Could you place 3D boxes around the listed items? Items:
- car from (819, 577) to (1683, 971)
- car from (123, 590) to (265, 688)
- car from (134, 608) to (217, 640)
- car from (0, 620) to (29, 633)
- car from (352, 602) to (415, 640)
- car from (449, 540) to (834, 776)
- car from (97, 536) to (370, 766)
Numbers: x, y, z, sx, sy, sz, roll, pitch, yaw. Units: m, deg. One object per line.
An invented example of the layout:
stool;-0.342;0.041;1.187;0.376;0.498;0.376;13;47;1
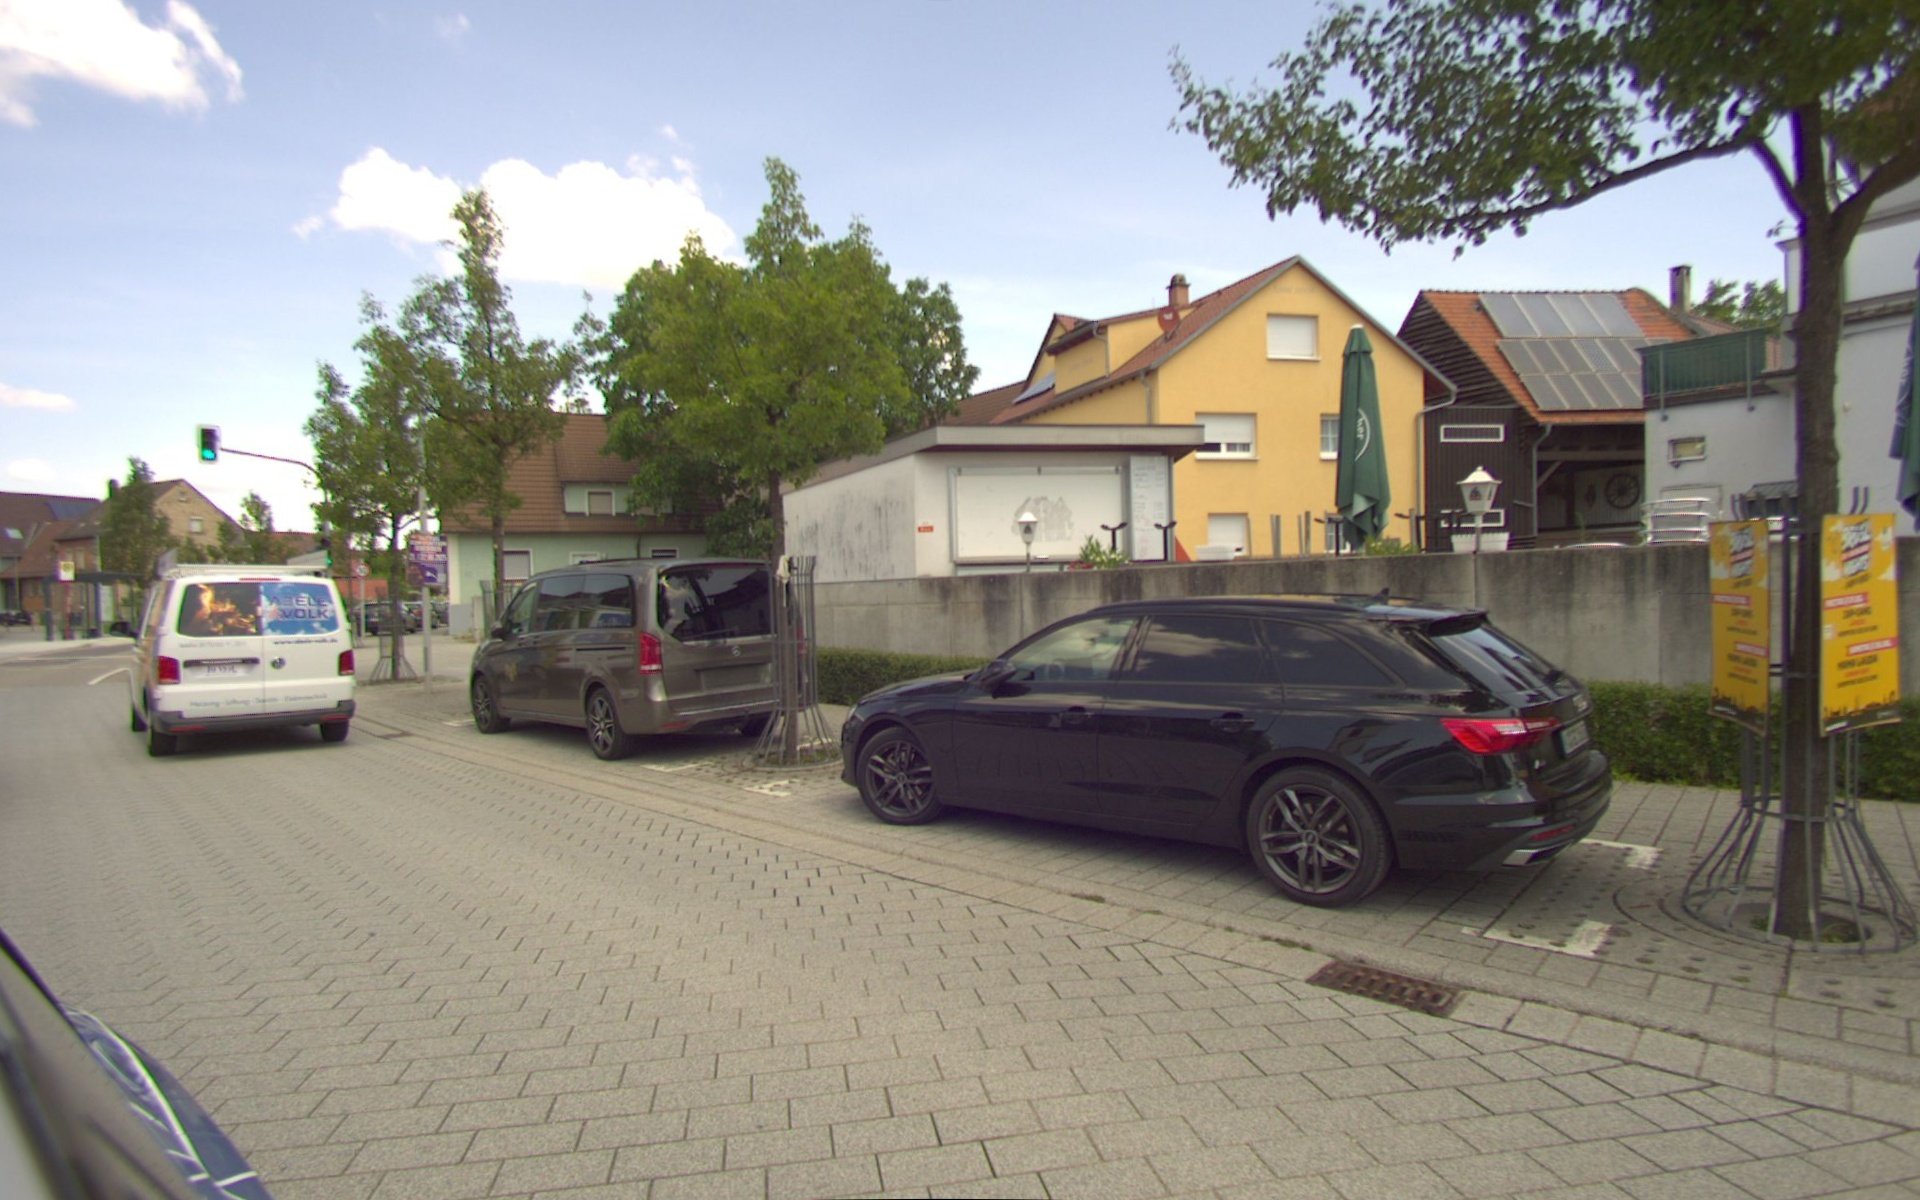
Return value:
car;1.322;0.660;5.934;4.538;1.434;1.796;-1;0;43
car;-17.005;0.790;22.367;1.970;1.894;4.871;-2;0;-43
car;-43.877;1.321;56.671;3.490;1.605;1.671;-2;0;-32
car;-80.802;2.231;85.514;3.977;1.068;1.788;-1;0;25
car;-25.211;0.868;44.384;1.708;1.501;4.515;-1;0;-21
car;-3.717;0.508;11.118;1.963;2.005;5.048;-2;0;-44
car;-8.877;0.501;12.149;1.866;2.202;5.033;-1;0;-45
